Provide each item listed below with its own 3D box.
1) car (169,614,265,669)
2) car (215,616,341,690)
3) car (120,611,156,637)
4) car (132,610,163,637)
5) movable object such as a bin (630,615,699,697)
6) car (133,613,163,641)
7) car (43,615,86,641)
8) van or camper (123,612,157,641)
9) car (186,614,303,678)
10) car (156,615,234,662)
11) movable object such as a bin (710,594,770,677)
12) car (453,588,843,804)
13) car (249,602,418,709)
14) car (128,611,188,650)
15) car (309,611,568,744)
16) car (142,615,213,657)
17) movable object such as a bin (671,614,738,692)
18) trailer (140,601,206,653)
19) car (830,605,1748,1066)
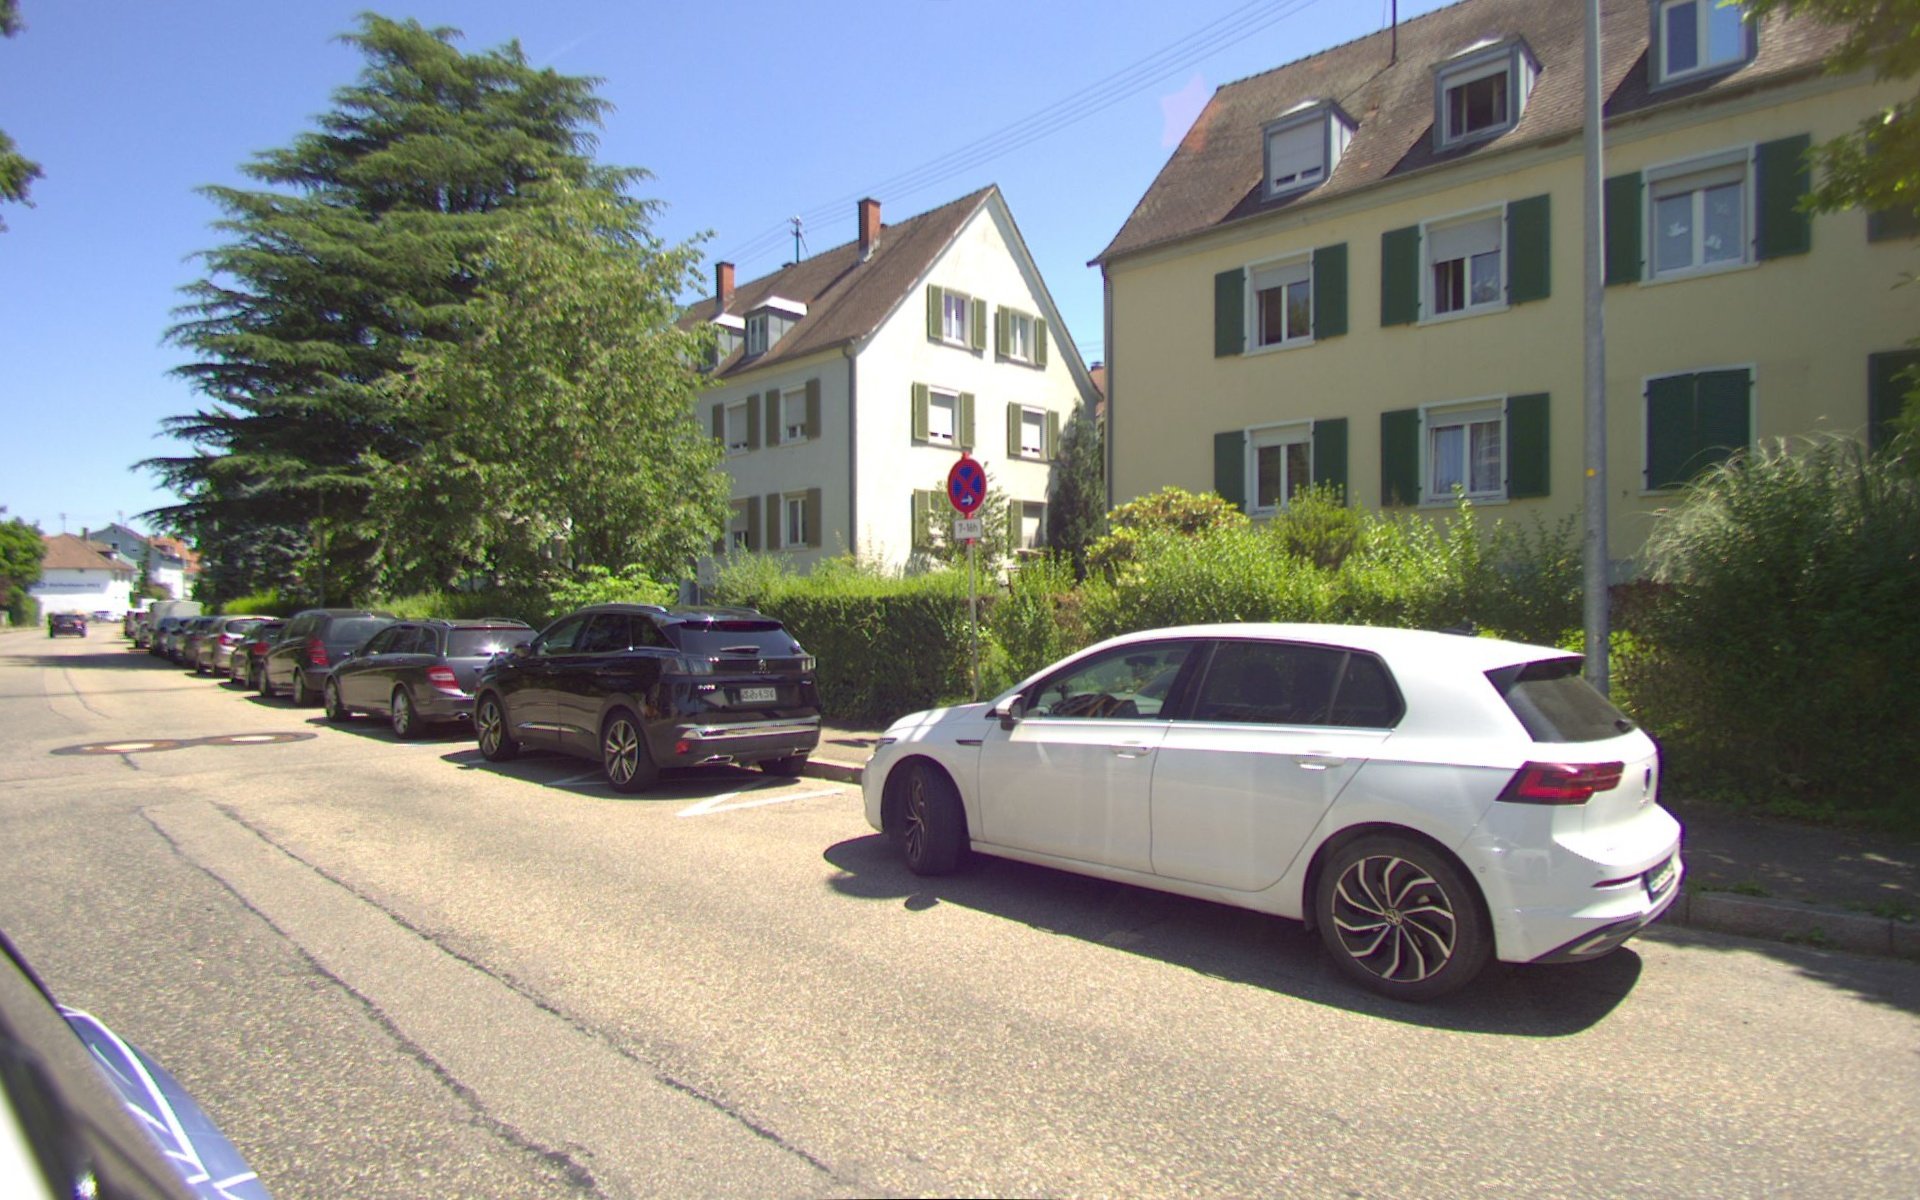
[{"bbox_3d":[-21.308,1.164,28.944,1.775,1.453,4.277,2,-2,-42],"label":"car"},{"bbox_3d":[-14.389,1.058,21.284,1.660,1.412,3.794,2,-2,-42],"label":"car"},{"bbox_3d":[-57.767,1.695,71.158,1.864,1.772,3.619,3,-3,-39],"label":"car"},{"bbox_3d":[-65.878,1.917,82.068,1.864,2.131,4.006,3,-3,-39],"label":"car"},{"bbox_3d":[-5.053,0.937,17.293,0.963,1.342,0.745,-1,-2,43],"label":"movable object such as a bin"},{"bbox_3d":[-47.962,1.591,59.747,1.289,1.589,2.325,2,-2,-40],"label":"car"},{"bbox_3d":[-56.746,1.758,64.106,1.876,1.587,4.145,1,-2,-43],"label":"car"},{"bbox_3d":[-51.534,1.659,63.548,1.560,1.784,3.895,2,-2,-40],"label":"van or camper"},{"bbox_3d":[-17.714,1.099,24.994,1.775,1.453,3.788,2,-2,-44],"label":"car"},{"bbox_3d":[-25.538,1.259,33.747,1.774,1.453,3.902,2,-2,-41],"label":"car"},{"bbox_3d":[-4.008,0.645,18.431,0.918,1.464,0.650,-1,-2,43],"label":"movable object such as a bin"},{"bbox_3d":[-3.189,0.782,9.836,4.330,1.649,1.663,-1,-2,43],"label":"car"},{"bbox_3d":[-10.950,0.901,17.587,1.661,1.652,3.792,2,-2,-45],"label":"car"},{"bbox_3d":[-35.624,1.344,44.927,1.747,1.631,4.554,3,-3,-42],"label":"car"},{"bbox_3d":[-7.053,0.921,13.482,4.330,1.487,1.663,-1,-2,43],"label":"car"},{"bbox_3d":[-28.909,1.303,37.327,1.774,1.453,4.483,2,-2,-41],"label":"car"},{"bbox_3d":[-4.520,0.916,17.888,0.963,1.342,0.745,-1,-2,43],"label":"movable object such as a bin"},{"bbox_3d":[-32.597,1.117,41.874,1.792,2.049,4.005,3,-3,-42],"label":"trailer"},{"bbox_3d":[1.341,0.792,5.275,4.247,1.452,1.663,-1,-2,43],"label":"car"}]
